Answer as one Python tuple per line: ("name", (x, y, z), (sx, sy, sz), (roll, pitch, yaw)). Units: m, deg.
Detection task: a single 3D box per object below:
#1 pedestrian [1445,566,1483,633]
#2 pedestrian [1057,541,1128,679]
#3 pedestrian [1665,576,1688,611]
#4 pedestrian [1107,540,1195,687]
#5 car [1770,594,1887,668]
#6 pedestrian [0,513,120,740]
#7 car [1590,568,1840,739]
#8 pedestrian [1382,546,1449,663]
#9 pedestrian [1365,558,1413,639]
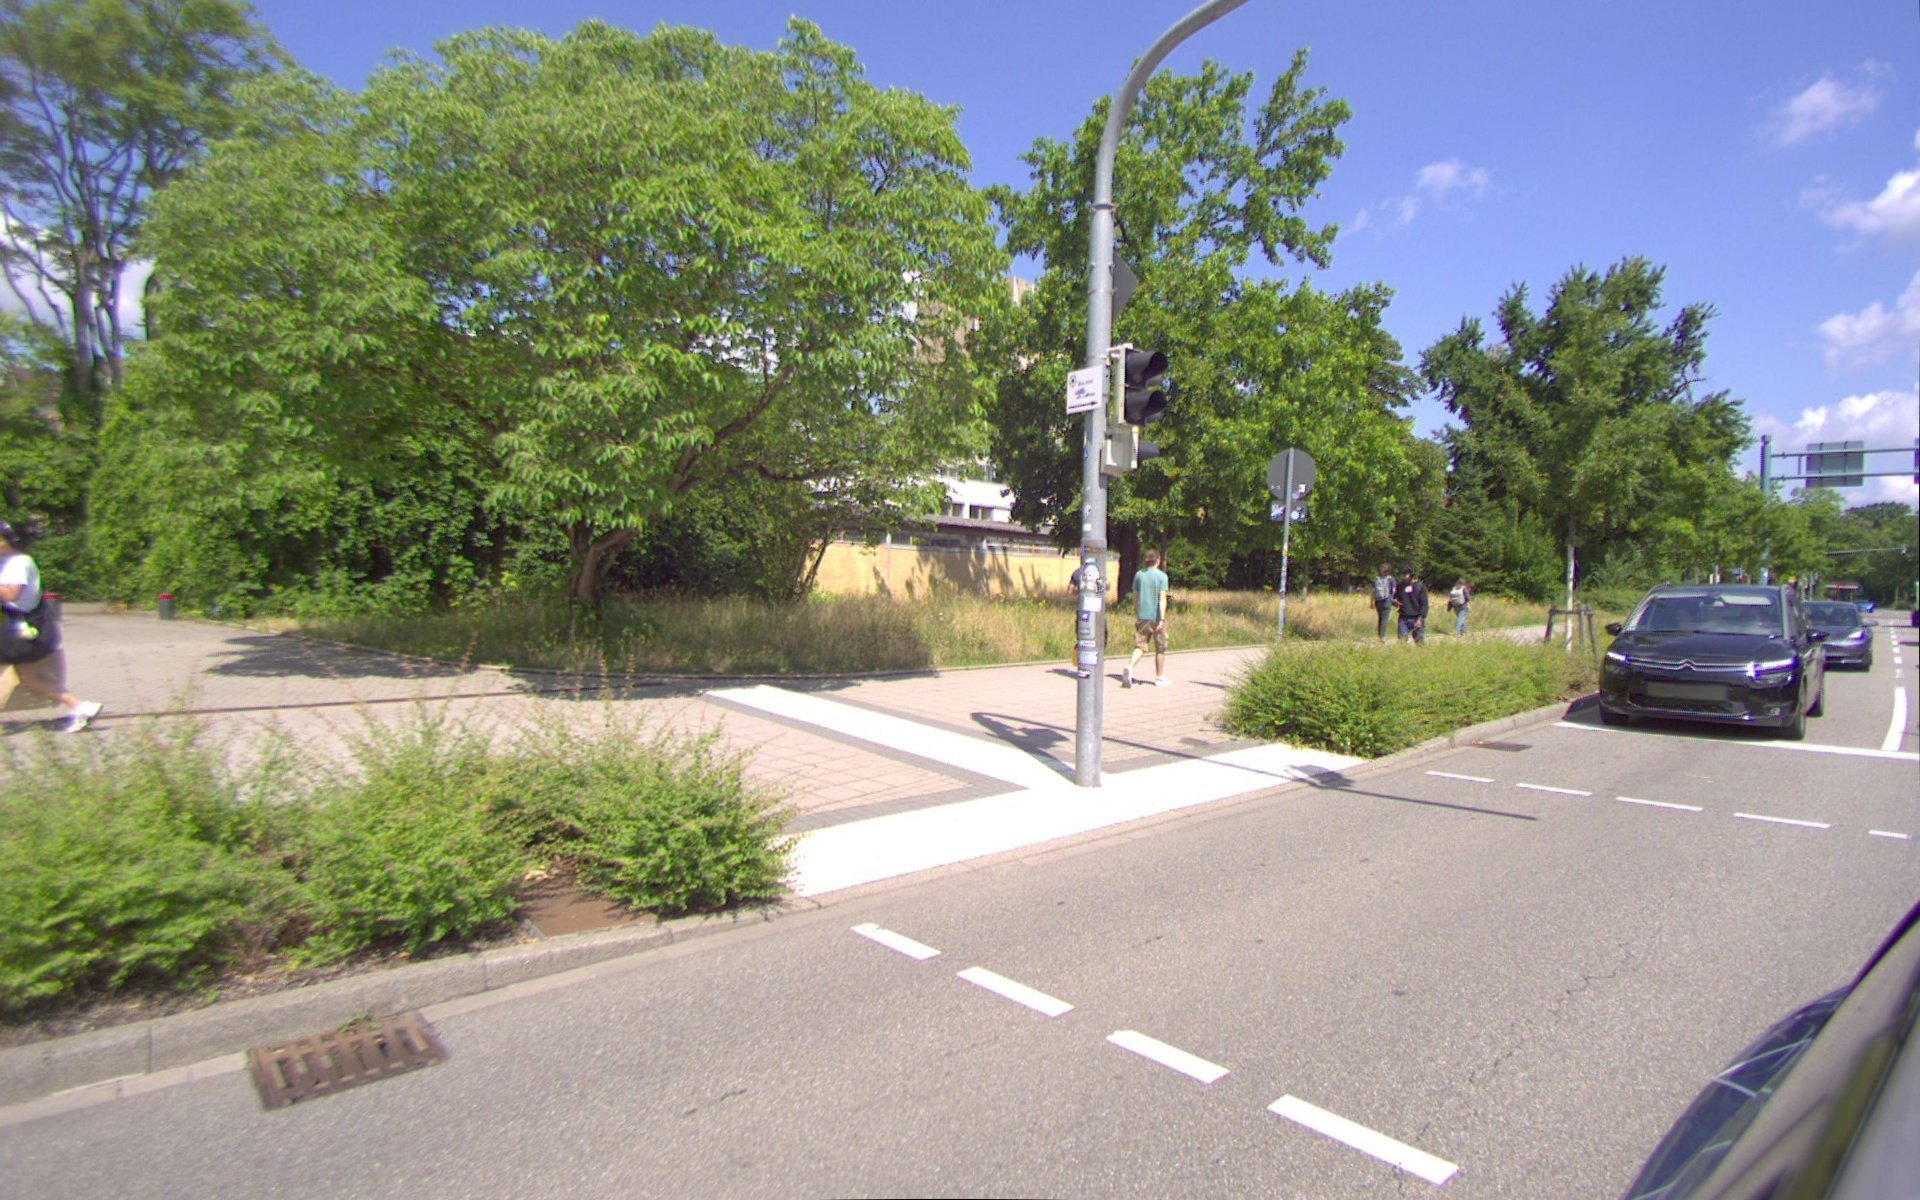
("pedestrian", (13.890, -0.022, 27.885), (0.666, 1.771, 0.864), (3, 2, 42))
("pedestrian", (1.763, 0.119, 13.440), (0.665, 1.768, 0.601), (3, 2, 37))
("pedestrian", (36.601, -0.340, 51.709), (0.842, 1.787, 0.829), (0, 0, 43))
("pedestrian", (2.468, 0.152, 13.025), (0.748, 1.799, 0.870), (3, 2, 37))
("car", (18.825, 0.613, 21.943), (1.759, 1.435, 4.298), (-1, -1, 41))
("pedestrian", (-7.004, 0.171, 7.624), (0.747, 1.616, 0.870), (3, 2, 35))
("car", (9.068, 0.522, 11.995), (1.857, 1.643, 4.449), (-1, -1, 43))
("pedestrian", (7.160, 0.062, 15.908), (0.666, 1.771, 0.835), (3, 2, 42))
("pedestrian", (9.660, -0.048, 22.790), (0.749, 1.771, 0.657), (3, 2, 43))
